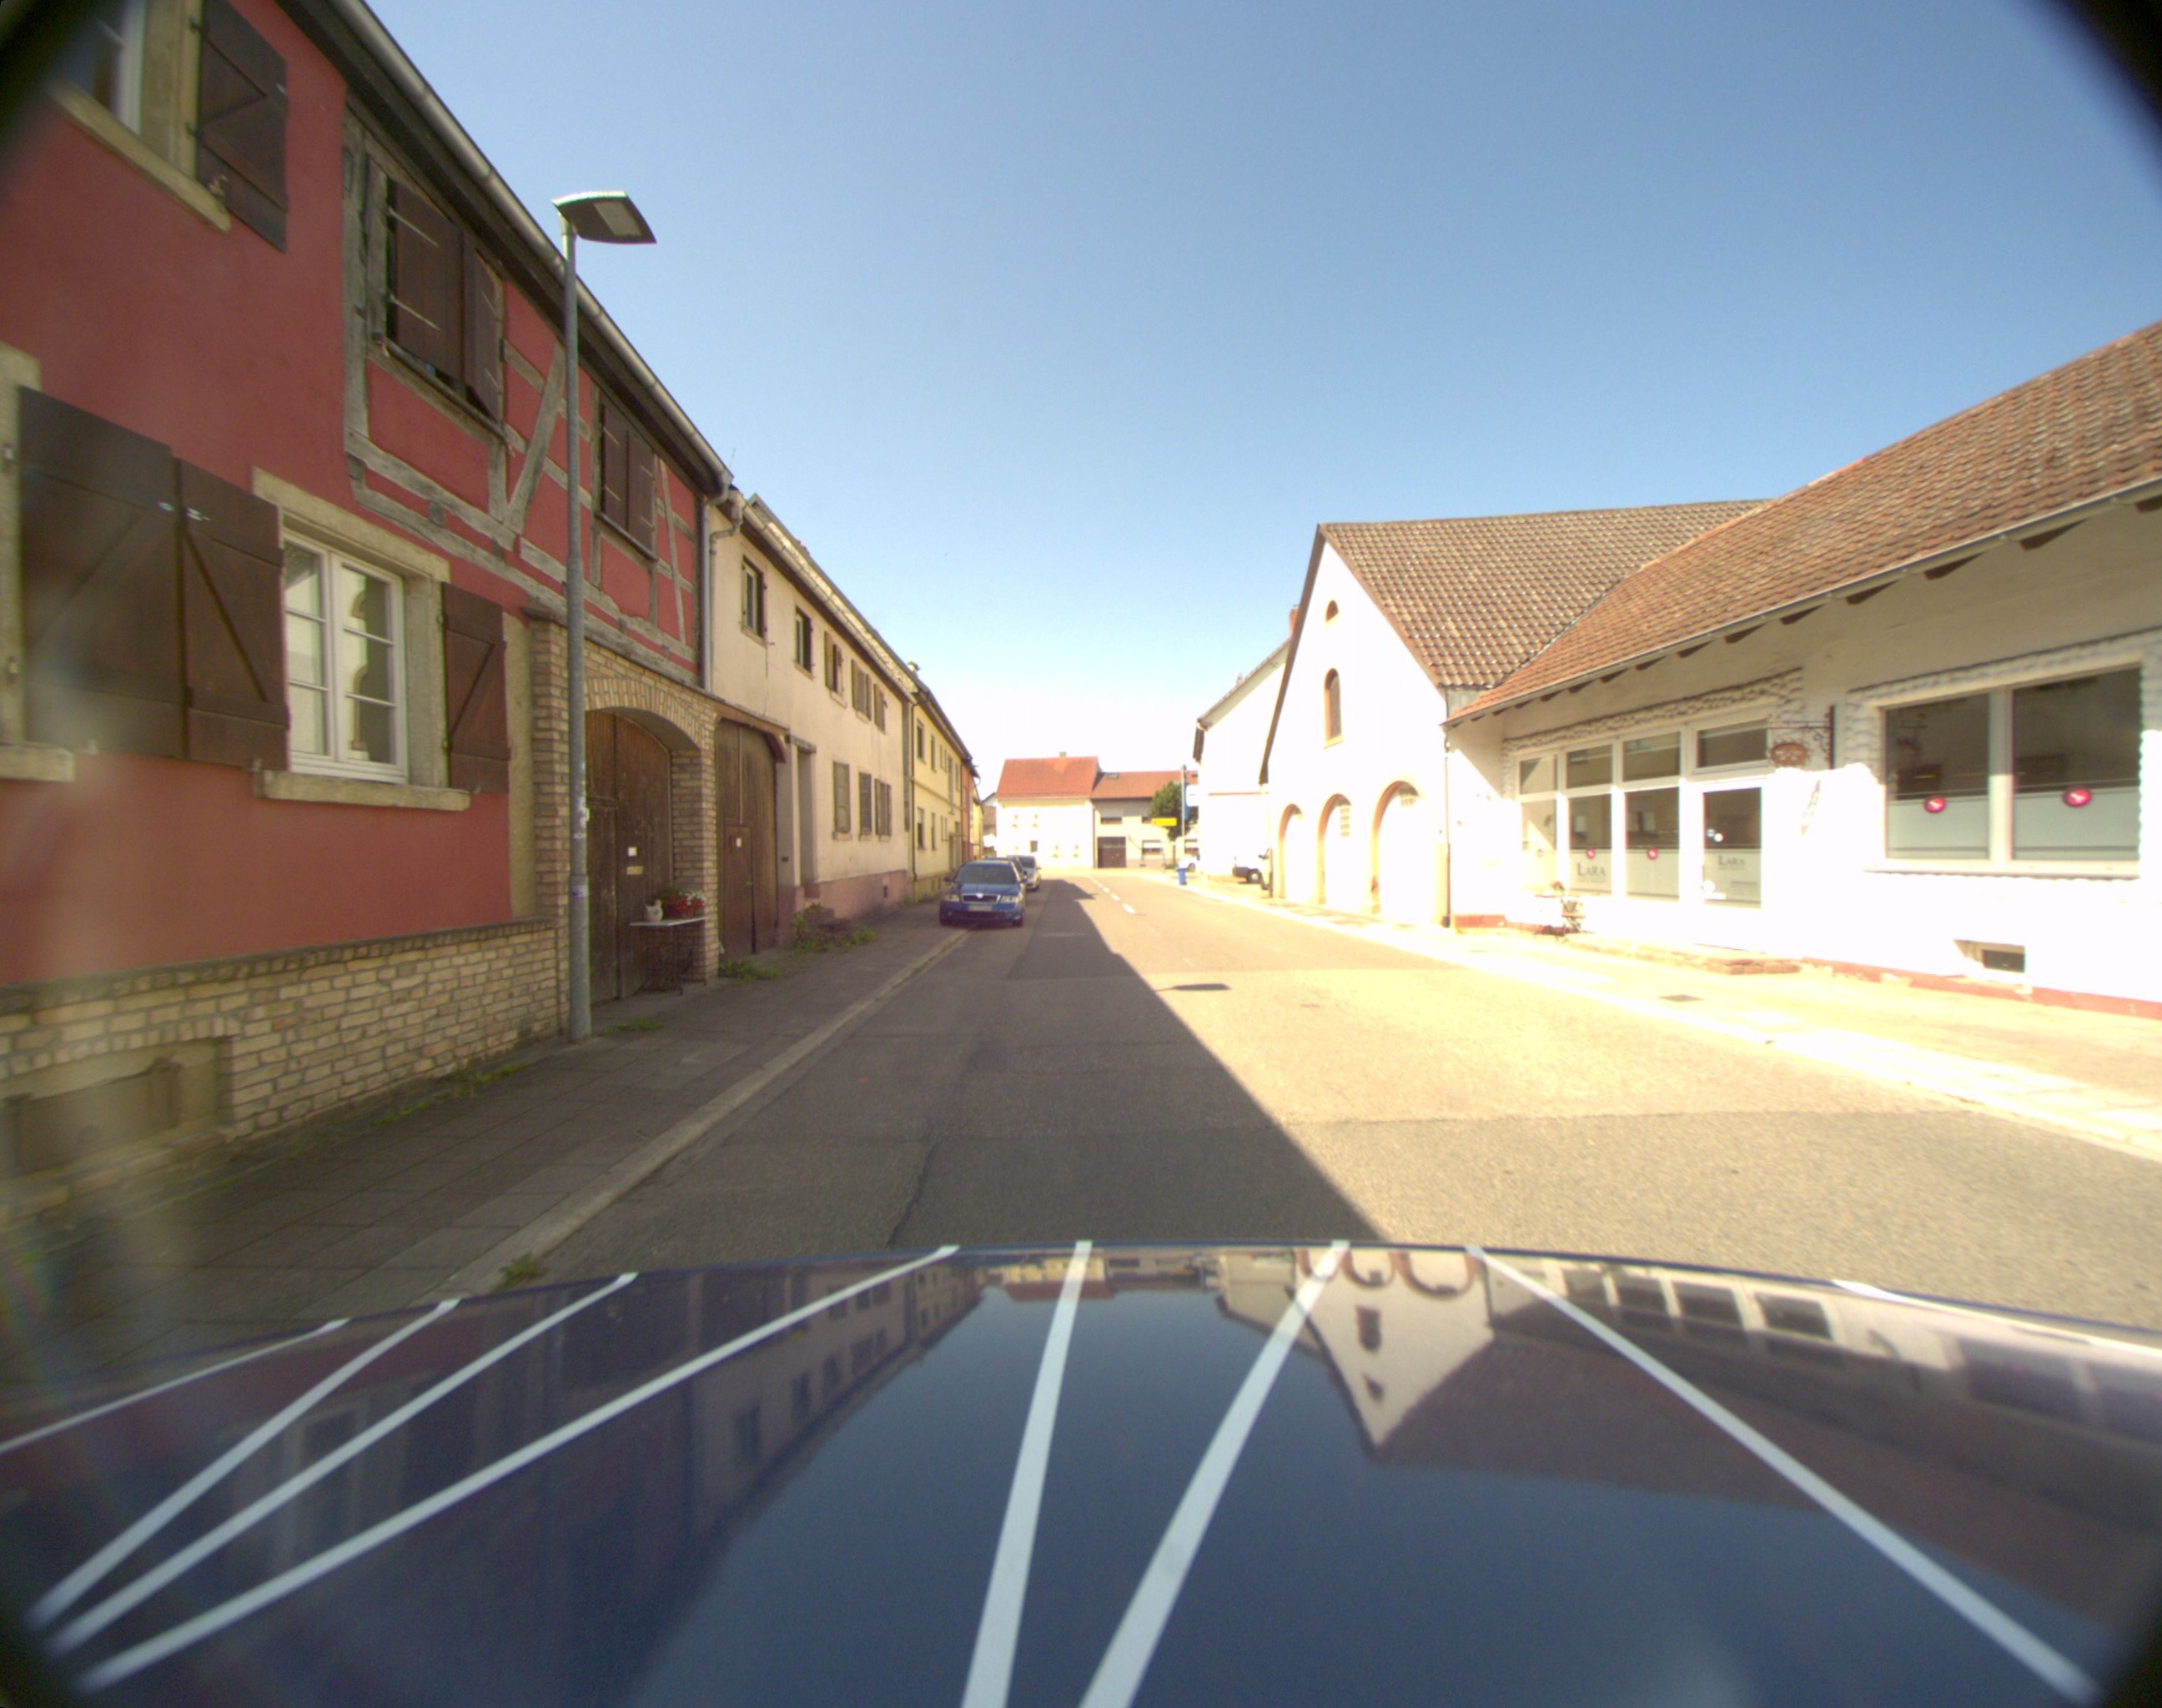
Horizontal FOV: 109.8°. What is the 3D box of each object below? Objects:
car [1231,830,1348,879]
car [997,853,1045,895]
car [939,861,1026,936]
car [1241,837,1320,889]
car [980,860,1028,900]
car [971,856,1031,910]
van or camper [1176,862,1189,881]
[{"bbox_3d":[9.979,0.028,36.721,5.185,2.184,2.124,-2,0,9],"label":"car"},{"bbox_3d":[-2.698,0.854,34.886,1.903,1.718,4.248,-1,0,-1],"label":"car"},{"bbox_3d":[-2.159,0.938,17.681,1.703,1.461,4.408,0,0,-3],"label":"car"},{"bbox_3d":[8.110,0.316,31.348,1.999,1.953,4.668,-1,1,0],"label":"car"},{"bbox_3d":[-2.970,0.958,29.924,1.555,1.430,3.720,0,0,-1],"label":"car"},{"bbox_3d":[-2.505,0.874,24.564,1.703,1.574,4.026,0,0,-3],"label":"car"},{"bbox_3d":[5.046,0.873,37.803,0.590,0.946,0.600,-1,1,4],"label":"van or camper"}]
